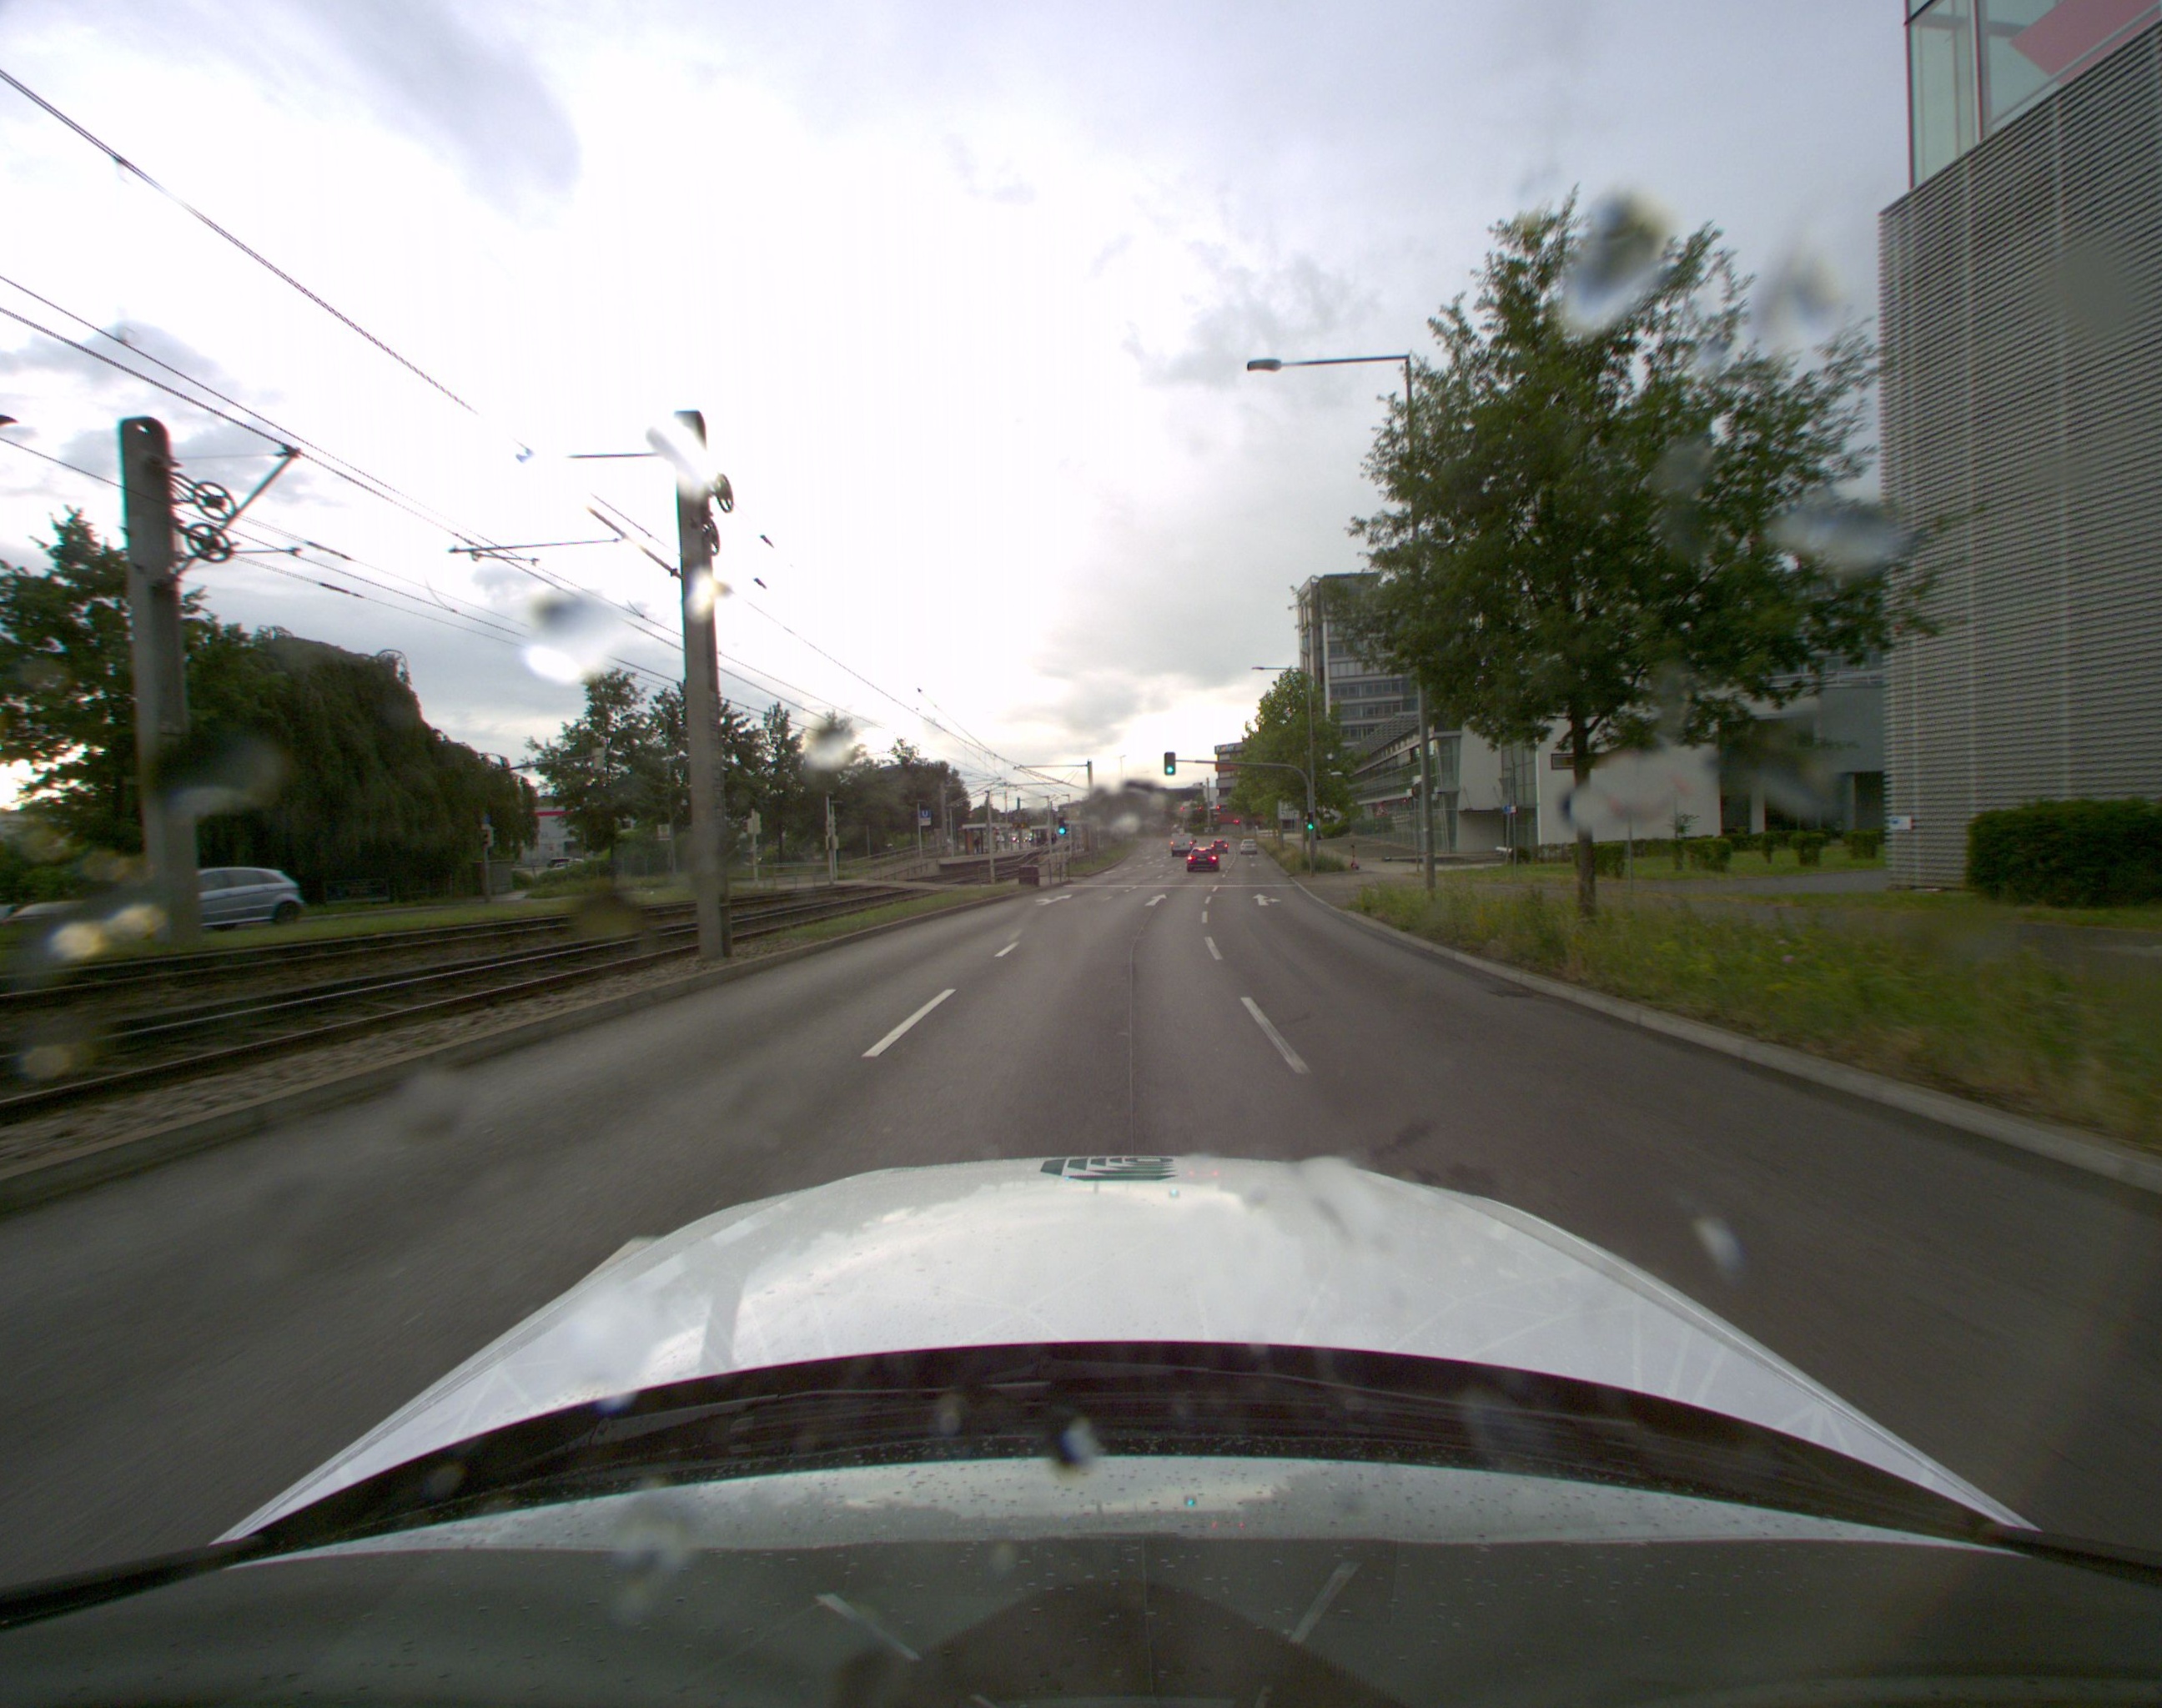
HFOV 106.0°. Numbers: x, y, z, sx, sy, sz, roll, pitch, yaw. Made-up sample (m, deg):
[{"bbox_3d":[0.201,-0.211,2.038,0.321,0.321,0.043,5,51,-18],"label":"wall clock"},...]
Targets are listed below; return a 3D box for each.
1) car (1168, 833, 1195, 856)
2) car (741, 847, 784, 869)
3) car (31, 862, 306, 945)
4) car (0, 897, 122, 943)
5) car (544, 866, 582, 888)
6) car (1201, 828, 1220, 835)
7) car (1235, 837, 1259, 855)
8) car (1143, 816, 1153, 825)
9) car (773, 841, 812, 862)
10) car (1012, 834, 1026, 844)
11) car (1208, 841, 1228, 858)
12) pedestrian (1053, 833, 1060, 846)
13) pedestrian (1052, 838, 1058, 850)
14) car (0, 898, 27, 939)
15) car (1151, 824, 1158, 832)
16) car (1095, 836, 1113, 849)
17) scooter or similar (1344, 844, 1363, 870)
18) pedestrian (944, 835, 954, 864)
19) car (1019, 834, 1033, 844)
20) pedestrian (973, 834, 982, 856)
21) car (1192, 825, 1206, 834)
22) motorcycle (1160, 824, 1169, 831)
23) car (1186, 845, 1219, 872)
[{"bbox_3d":[9.968,-0.982,80.306,2.497,2.177,5.162,-1,1,8],"label":"car"},{"bbox_3d":[-30.000,0.406,76.802,1.982,2.014,4.010,-1,-1,9],"label":"car"},{"bbox_3d":[-21.423,1.080,19.418,1.986,1.679,4.001,-1,0,2],"label":"car"},{"bbox_3d":[-37.782,2.381,29.991,2.007,1.510,3.960,0,-2,-31],"label":"car"},{"bbox_3d":[-34.667,1.530,54.467,2.008,1.415,3.957,0,-2,-35],"label":"car"},{"bbox_3d":[28.725,-4.974,180.620,2.036,1.623,3.958,-1,1,-34],"label":"car"},{"bbox_3d":[16.941,-0.836,83.245,2.010,1.769,4.008,-1,2,7],"label":"car"},{"bbox_3d":[18.000,-9.003,219.772,1.990,2.014,3.993,-1,-2,-4],"label":"car"},{"bbox_3d":[-29.018,-0.224,82.063,1.982,2.014,4.010,-1,-1,9],"label":"car"},{"bbox_3d":[-13.843,-3.399,181.240,2.003,2.014,3.967,0,-2,-25],"label":"car"},{"bbox_3d":[14.489,-0.451,86.130,2.010,1.623,4.009,-1,-2,8],"label":"car"},{"bbox_3d":[-3.531,-2.093,117.445,0.748,1.751,0.765,-1,-2,7],"label":"pedestrian"},{"bbox_3d":[-3.548,-1.368,111.068,0.725,1.715,0.833,-1,0,7],"label":"pedestrian"},{"bbox_3d":[-40.693,2.395,29.326,1.761,1.494,3.964,0,-2,-27],"label":"car"},{"bbox_3d":[21.192,-7.542,235.191,1.811,2.014,3.471,-1,-2,1],"label":"car"},{"bbox_3d":[2.910,-1.456,102.635,1.983,1.452,3.856,-1,4,6],"label":"car"},{"bbox_3d":[13.603,0.150,40.696,0.455,1.263,1.338,-4,0,3],"label":"scooter or similar"},{"bbox_3d":[-8.911,-0.288,54.900,0.546,1.953,0.664,-1,-2,3],"label":"pedestrian"},{"bbox_3d":[-12.422,-3.342,184.149,2.003,2.014,3.967,0,-2,-25],"label":"car"},{"bbox_3d":[-8.919,-0.742,70.132,0.634,1.854,0.752,-1,-2,6],"label":"pedestrian"},{"bbox_3d":[30.798,-6.431,212.833,1.999,2.014,3.975,0,-2,-18],"label":"car"},{"bbox_3d":[26.486,-8.468,258.512,1.990,2.014,3.994,-1,-2,-4],"label":"motorcycle"},{"bbox_3d":[7.288,0.243,48.555,1.753,1.463,4.641,-1,1,11],"label":"car"}]
